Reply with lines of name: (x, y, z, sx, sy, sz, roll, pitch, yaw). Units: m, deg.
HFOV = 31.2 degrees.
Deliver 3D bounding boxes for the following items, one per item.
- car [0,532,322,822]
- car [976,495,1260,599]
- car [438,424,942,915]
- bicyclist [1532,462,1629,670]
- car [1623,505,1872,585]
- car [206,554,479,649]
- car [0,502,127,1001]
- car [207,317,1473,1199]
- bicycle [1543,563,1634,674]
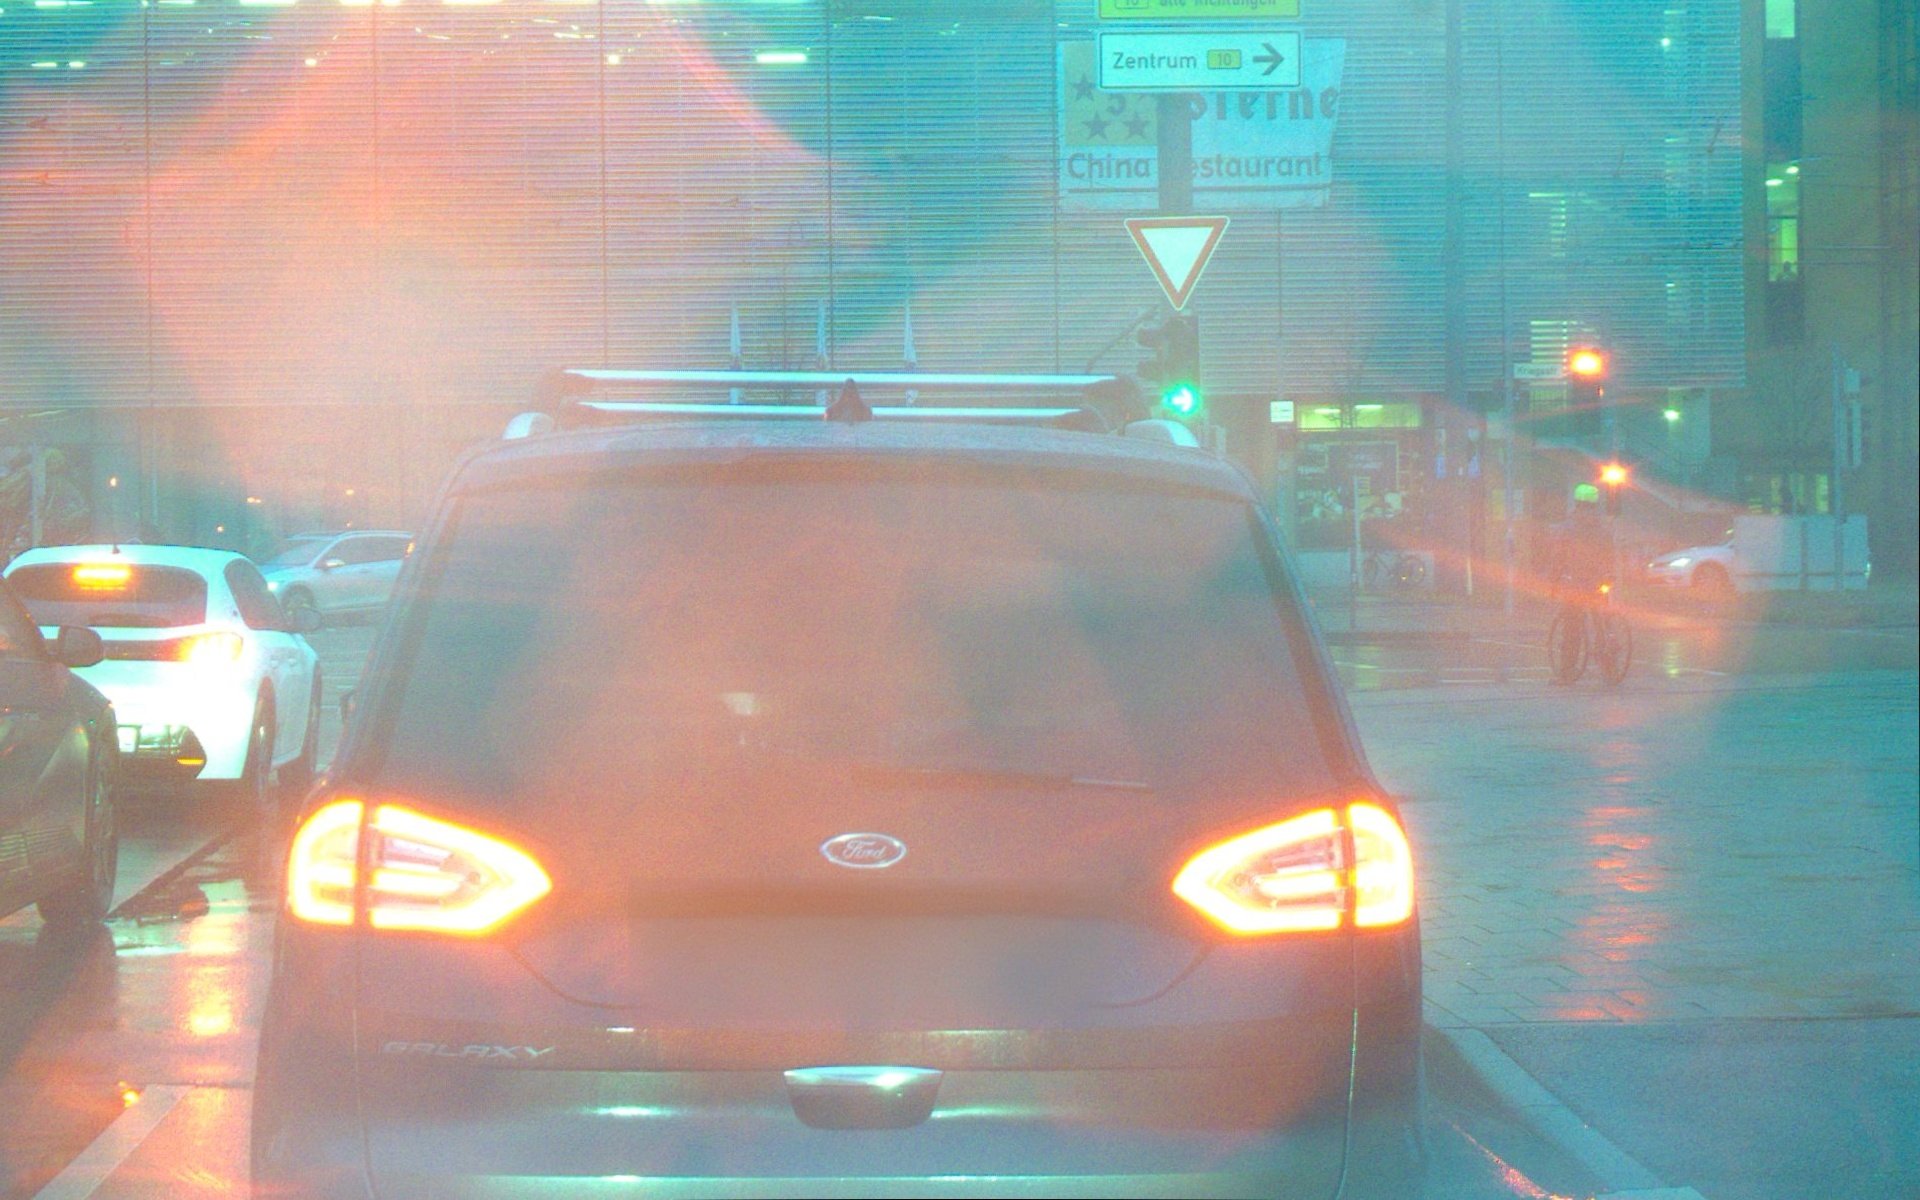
car: (-4.635, 0.349, 19.299, 1.758, 1.458, 3.918, 0, 1, -6)
car: (2.944, -1.004, 64.287, 4.945, 1.865, 1.906, -1, 1, -14)
car: (-1.188, 0.201, 14.968, 1.843, 1.800, 4.488, -1, 1, -5)
bicyclist: (5.724, -0.317, 31.749, 0.791, 1.884, 0.989, -1, 1, 5)
car: (15.268, -1.074, 66.748, 4.326, 1.481, 1.867, -1, 1, -6)
car: (-9.680, -0.002, 54.221, 1.643, 1.381, 4.468, 0, 1, 32)
car: (-4.029, 0.467, 11.608, 1.820, 1.564, 4.363, -1, 1, -7)
car: (-0.203, 0.486, 6.622, 1.674, 1.773, 4.000, 1, 1, -1)
bicycle: (5.802, 0.161, 31.817, 0.655, 0.970, 1.866, -1, 1, 5)
